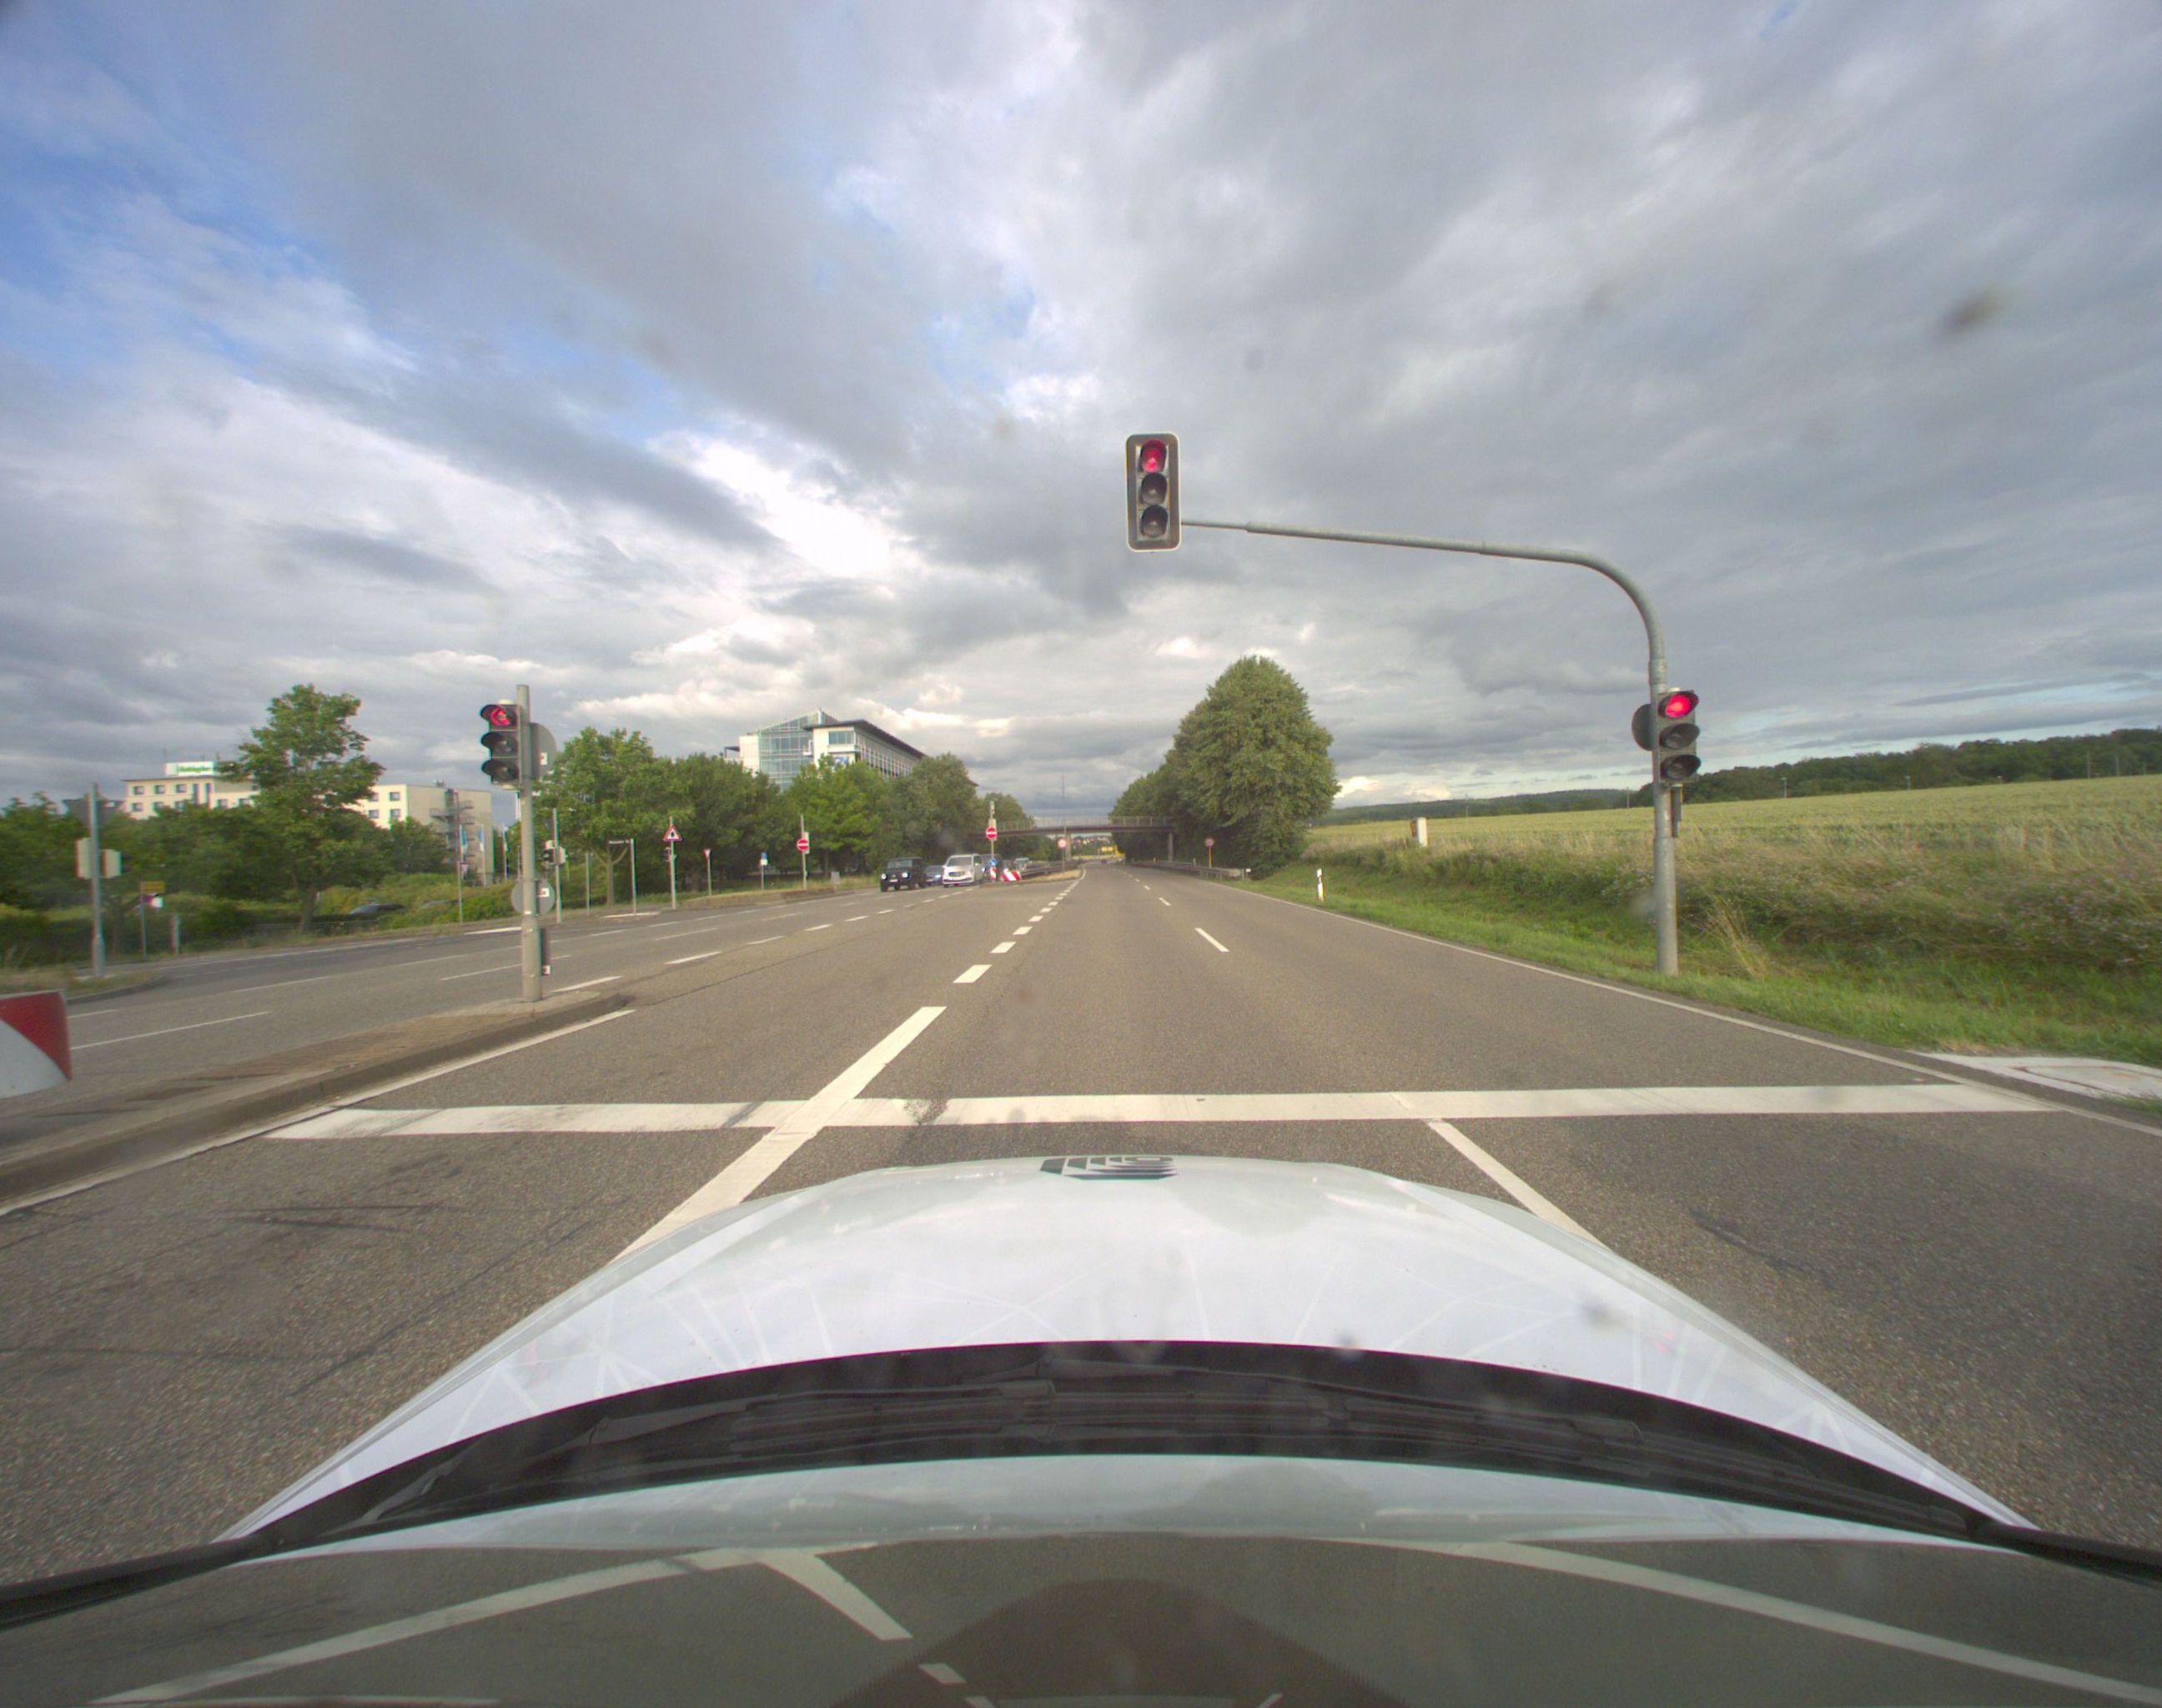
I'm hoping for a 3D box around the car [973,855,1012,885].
[{"bbox_3d":[-6.186,1.077,57.397,2.076,2.014,5.216,0,-1,1],"label":"car"}]

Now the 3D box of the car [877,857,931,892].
[{"bbox_3d":[-10.723,1.193,49.652,2.076,2.014,5.216,0,-1,1],"label":"car"}]

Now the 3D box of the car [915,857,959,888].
[{"bbox_3d":[-10.027,1.257,57.141,2.076,2.014,5.216,0,-1,1],"label":"car"}]

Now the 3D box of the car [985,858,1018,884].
[{"bbox_3d":[-6.270,1.313,64.968,2.076,2.014,5.216,0,-1,1],"label":"car"}]

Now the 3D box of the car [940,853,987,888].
[{"bbox_3d":[-7.103,0.969,49.679,2.076,2.014,5.216,0,-1,1],"label":"car"}]

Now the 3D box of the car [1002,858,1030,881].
[{"bbox_3d":[-6.003,1.410,75.948,2.076,2.014,5.216,0,-1,1],"label":"car"}]

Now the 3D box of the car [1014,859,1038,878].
[{"bbox_3d":[-5.764,1.497,85.766,2.076,2.014,5.216,0,-1,1],"label":"car"}]
